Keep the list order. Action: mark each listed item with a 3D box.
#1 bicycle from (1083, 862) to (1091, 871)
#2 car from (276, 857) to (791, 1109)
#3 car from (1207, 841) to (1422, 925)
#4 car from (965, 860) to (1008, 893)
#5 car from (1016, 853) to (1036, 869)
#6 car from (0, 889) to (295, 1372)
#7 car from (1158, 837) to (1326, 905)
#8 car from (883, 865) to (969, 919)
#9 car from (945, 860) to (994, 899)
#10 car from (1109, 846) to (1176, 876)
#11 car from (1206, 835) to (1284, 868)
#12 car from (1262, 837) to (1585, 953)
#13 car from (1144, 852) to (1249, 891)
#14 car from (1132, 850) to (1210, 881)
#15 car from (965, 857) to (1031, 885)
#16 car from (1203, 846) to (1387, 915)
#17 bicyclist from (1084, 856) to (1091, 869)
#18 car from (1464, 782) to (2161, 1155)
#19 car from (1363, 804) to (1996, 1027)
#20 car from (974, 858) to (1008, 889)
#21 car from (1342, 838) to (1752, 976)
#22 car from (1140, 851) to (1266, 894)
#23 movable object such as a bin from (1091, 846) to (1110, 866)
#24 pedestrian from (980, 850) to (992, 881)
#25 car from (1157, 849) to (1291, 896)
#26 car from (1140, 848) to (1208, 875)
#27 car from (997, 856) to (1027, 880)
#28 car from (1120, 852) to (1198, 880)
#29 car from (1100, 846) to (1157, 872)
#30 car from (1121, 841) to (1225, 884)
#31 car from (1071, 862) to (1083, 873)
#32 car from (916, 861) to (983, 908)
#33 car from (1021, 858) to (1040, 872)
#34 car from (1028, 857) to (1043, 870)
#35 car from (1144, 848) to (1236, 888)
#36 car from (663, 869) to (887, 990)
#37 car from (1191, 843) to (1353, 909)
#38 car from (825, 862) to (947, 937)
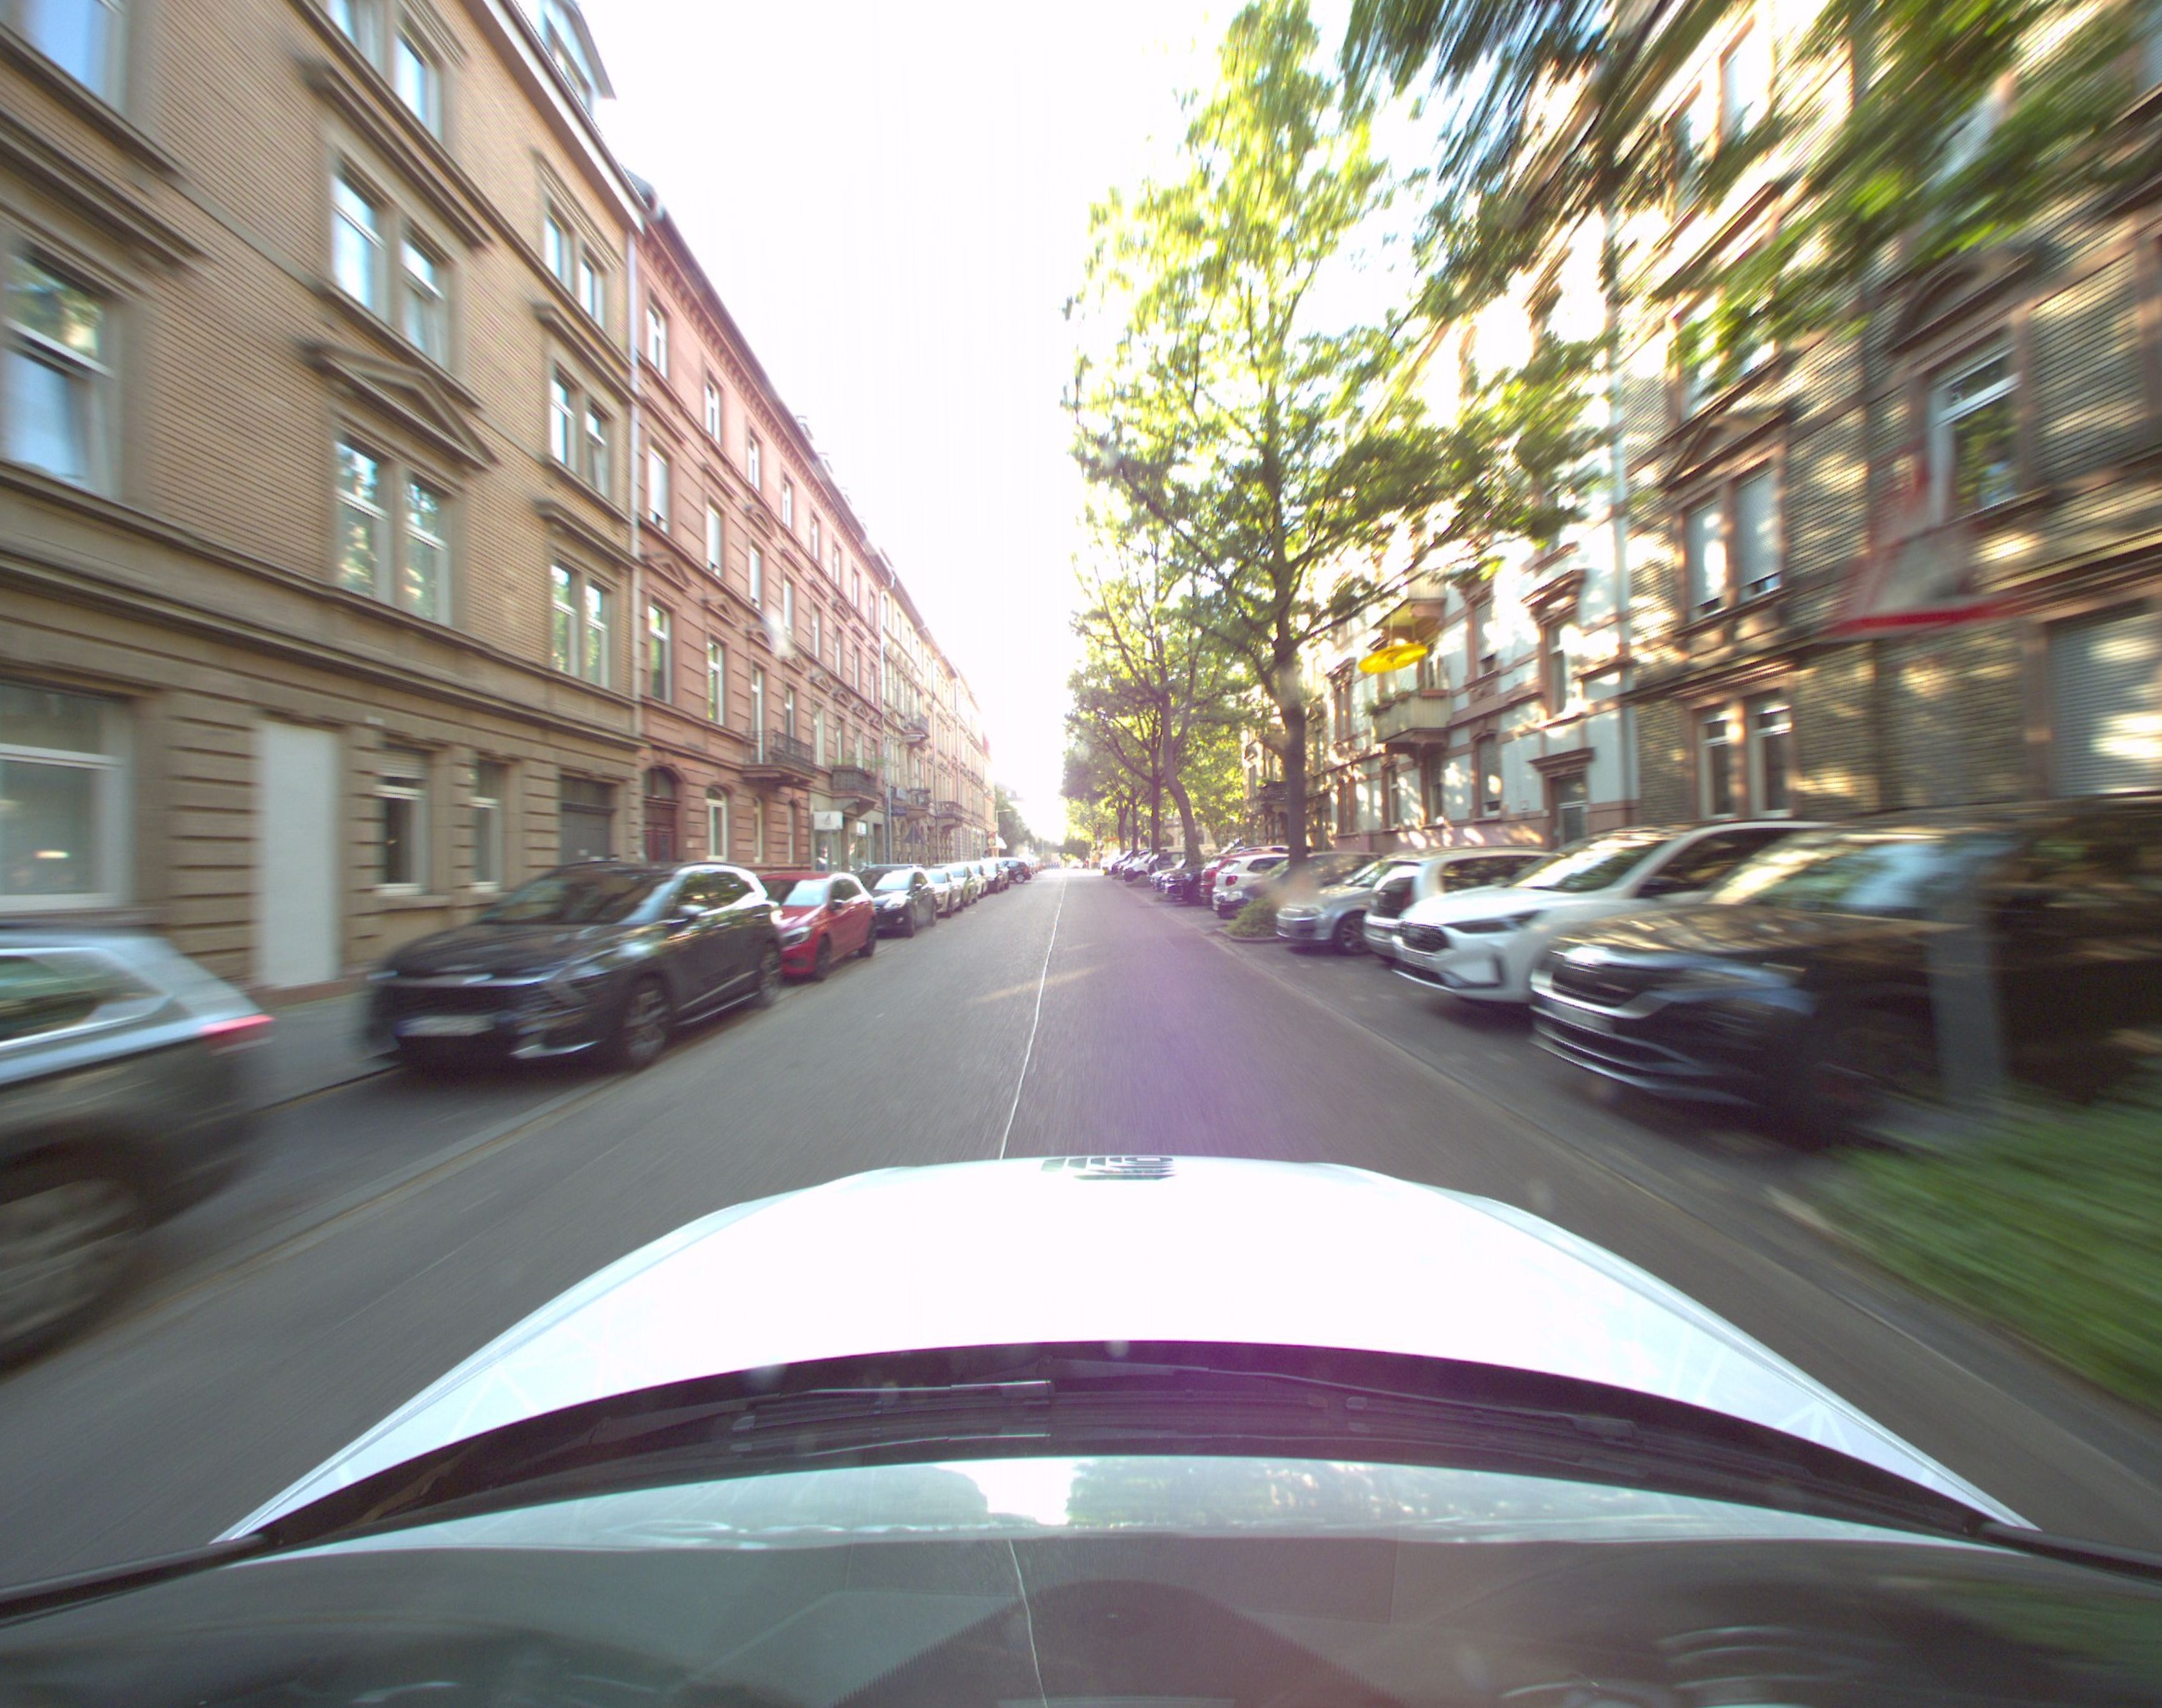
[{"bbox_3d":[0.692,1.381,90.028,0.801,0.968,2.107,0,0,-1],"label":"bicycle"},{"bbox_3d":[-4.304,0.837,7.432,1.816,1.600,4.312,0,0,-1],"label":"car"},{"bbox_3d":[4.835,0.581,17.211,3.976,1.388,1.677,-5,0,-2],"label":"car"},{"bbox_3d":[-4.448,1.026,38.773,1.643,1.473,3.998,1,0,-1],"label":"car"},{"bbox_3d":[-5.351,0.680,79.244,1.760,1.437,4.297,-2,0,-2],"label":"car"},{"bbox_3d":[-4.339,0.916,1.244,1.856,1.472,4.488,-2,0,0],"label":"car"},{"bbox_3d":[4.839,0.482,24.822,4.636,1.702,1.879,-4,0,-5],"label":"car"},{"bbox_3d":[-4.427,1.051,23.807,1.700,1.323,4.100,-2,0,-1],"label":"car"},{"bbox_3d":[-4.687,1.030,34.636,1.577,1.473,3.998,-2,0,-1],"label":"car"},{"bbox_3d":[4.464,0.536,59.607,4.605,2.013,1.998,-2,0,-4],"label":"car"},{"bbox_3d":[13.657,-0.223,67.940,5.889,2.537,2.374,-1,0,-7],"label":"car"},{"bbox_3d":[5.127,0.572,12.524,4.214,1.536,1.798,-2,0,-4],"label":"car"},{"bbox_3d":[4.872,0.720,34.742,4.099,1.503,1.807,-2,0,-6],"label":"car"},{"bbox_3d":[5.005,0.646,45.418,3.985,1.474,1.776,-3,0,-9],"label":"car"},{"bbox_3d":[-5.161,1.060,50.954,3.983,1.529,1.821,-2,0,-7],"label":"car"},{"bbox_3d":[5.151,0.611,19.929,3.980,1.462,1.780,-2,0,-5],"label":"car"},{"bbox_3d":[0.707,0.965,90.035,0.801,1.383,0.984,0,-1,-2],"label":"bicyclist"},{"bbox_3d":[4.905,0.522,4.709,4.460,1.656,1.891,-2,-2,0],"label":"car"},{"bbox_3d":[5.164,0.503,7.489,4.464,1.656,1.890,-1,-2,-2],"label":"car"},{"bbox_3d":[-4.781,1.003,43.580,1.645,1.574,4.042,1,0,-5],"label":"car"},{"bbox_3d":[5.605,0.600,10.182,4.087,1.469,1.801,-2,0,0],"label":"car"},{"bbox_3d":[4.825,0.701,32.515,4.650,1.503,1.929,-2,0,-5],"label":"car"},{"bbox_3d":[2.688,0.311,112.615,1.980,2.699,3.121,-1,-1,12],"label":"movable object such as a bin"},{"bbox_3d":[-5.782,0.714,49.682,0.638,1.887,0.590,-2,0,-9],"label":"pedestrian"},{"bbox_3d":[5.154,0.656,29.766,4.537,1.529,2.000,-2,0,0],"label":"car"},{"bbox_3d":[5.826,0.460,51.292,4.069,1.497,1.843,-2,0,-1],"label":"car"},{"bbox_3d":[-4.806,0.949,56.916,1.736,1.567,3.894,-2,0,0],"label":"car"},{"bbox_3d":[4.542,0.698,47.699,4.356,1.455,1.933,-2,0,-1],"label":"car"},{"bbox_3d":[4.191,0.454,72.468,4.959,2.096,2.105,-2,0,-1],"label":"car"},{"bbox_3d":[4.692,0.461,42.178,5.077,1.940,2.157,-2,-4,-1],"label":"car"},{"bbox_3d":[-0.567,2.033,122.592,1.744,1.509,3.998,-2,0,-1],"label":"car"},{"bbox_3d":[-4.519,0.996,28.483,1.700,1.439,3.958,-2,0,-1],"label":"car"},{"bbox_3d":[-5.241,1.107,84.462,1.720,1.437,3.995,0,0,0],"label":"car"},{"bbox_3d":[-5.287,1.104,94.792,1.665,1.530,3.995,-1,-1,-3],"label":"car"},{"bbox_3d":[4.998,0.618,37.562,3.879,1.649,1.721,-2,0,-6],"label":"car"},{"bbox_3d":[-4.356,0.985,12.388,1.816,1.425,4.312,0,0,-1],"label":"car"},{"bbox_3d":[5.221,0.578,22.527,3.980,1.590,1.780,-2,0,-5],"label":"car"},{"bbox_3d":[-4.368,0.960,18.933,1.816,1.477,4.421,0,0,-1],"label":"car"}]
